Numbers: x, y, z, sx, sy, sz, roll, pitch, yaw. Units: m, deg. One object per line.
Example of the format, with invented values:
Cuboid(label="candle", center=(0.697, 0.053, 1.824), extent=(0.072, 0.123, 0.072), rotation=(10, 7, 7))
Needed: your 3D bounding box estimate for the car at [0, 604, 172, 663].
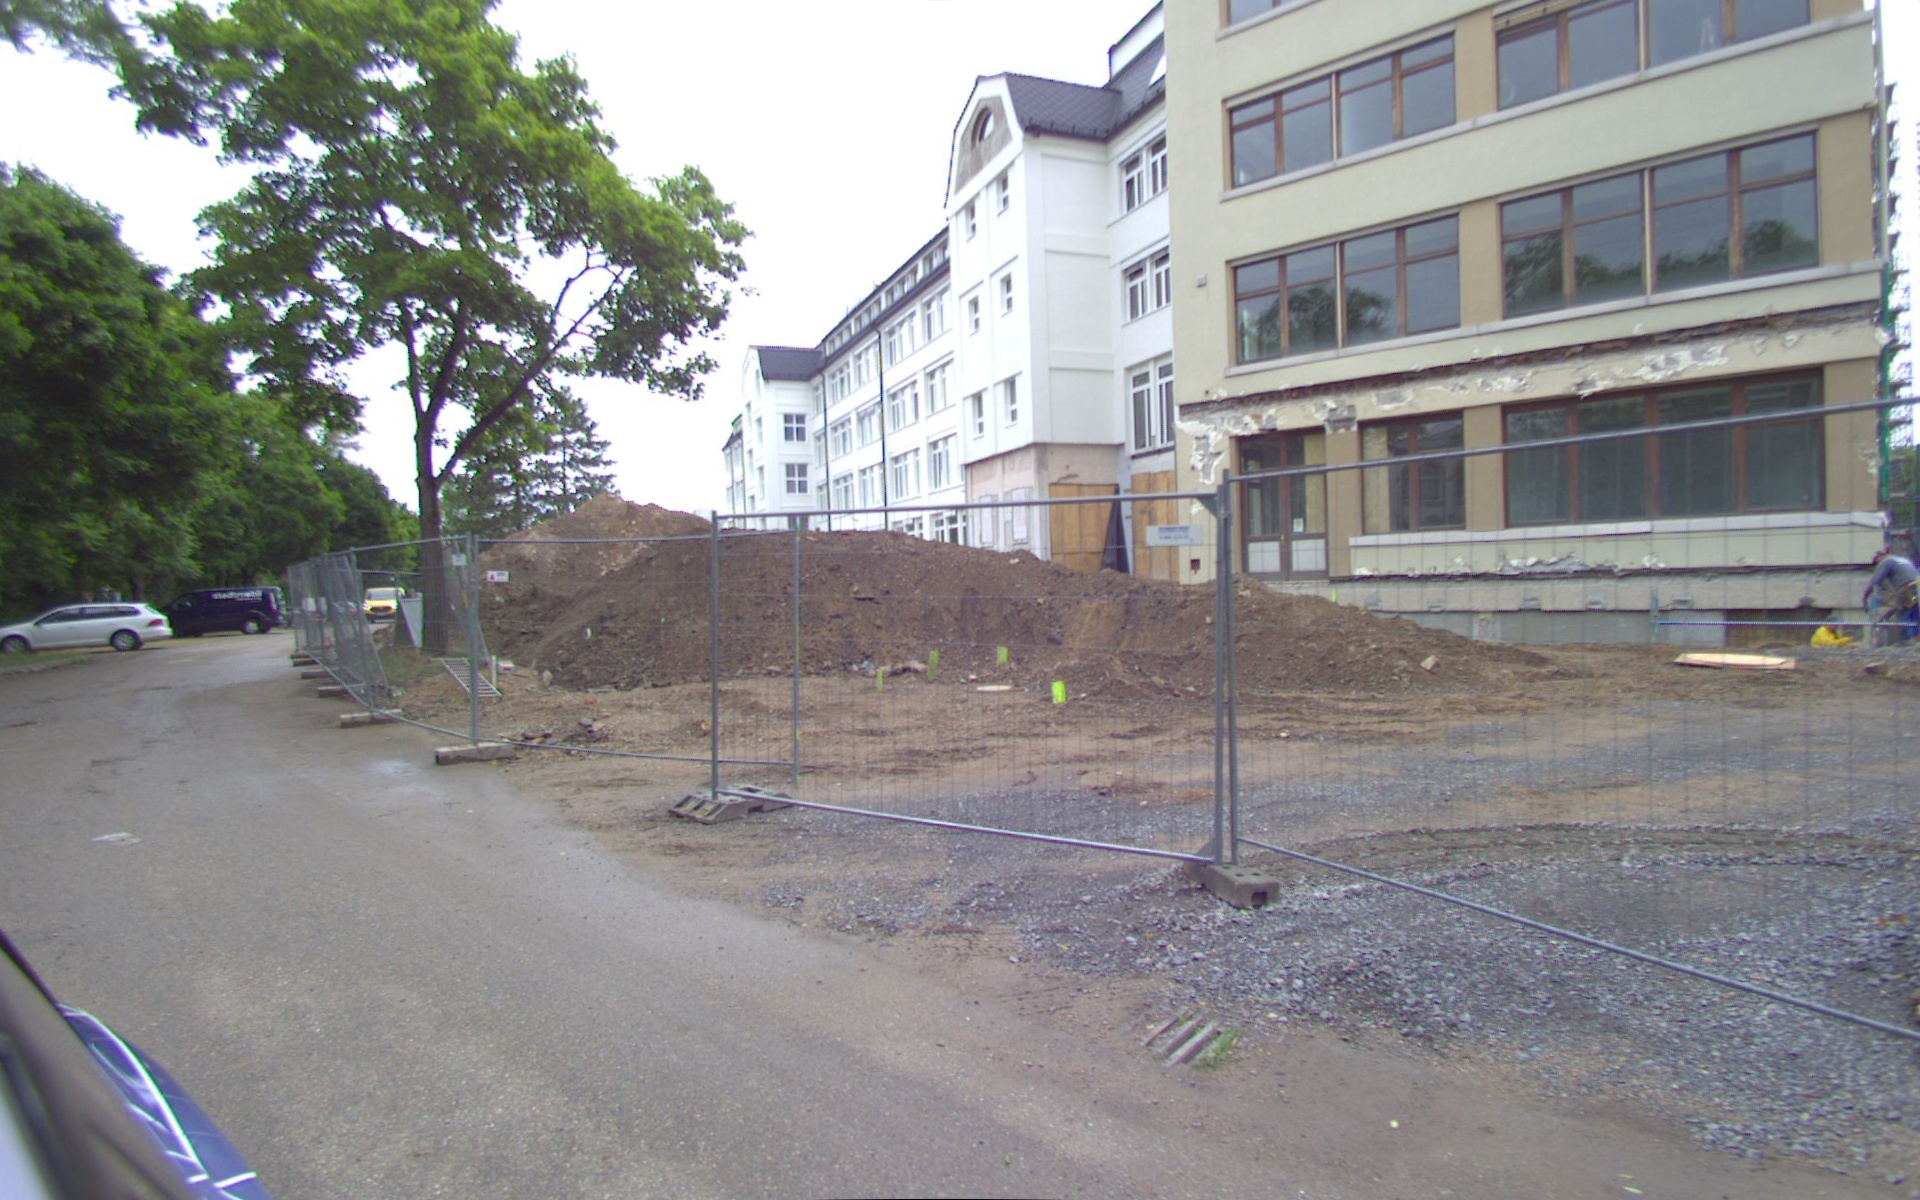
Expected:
Cuboid(label="car", center=(-26.664, 0.983, 31.013), extent=(3.822, 1.586, 1.756), rotation=(-2, 1, -35))

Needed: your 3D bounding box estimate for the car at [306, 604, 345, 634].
Cuboid(label="car", center=(-36.525, 1.061, 58.281), extent=(1.791, 1.608, 4.012), rotation=(-2, 1, -32))

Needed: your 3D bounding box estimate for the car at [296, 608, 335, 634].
Cuboid(label="car", center=(-42.864, 1.375, 67.394), extent=(1.966, 1.608, 4.012), rotation=(-2, 1, -30))

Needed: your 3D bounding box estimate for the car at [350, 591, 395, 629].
Cuboid(label="car", center=(-33.519, 0.549, 57.822), extent=(2.089, 2.029, 4.012), rotation=(-2, 1, -29))

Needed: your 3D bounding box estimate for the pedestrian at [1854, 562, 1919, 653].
Cuboid(label="pedestrian", center=(15.373, 0.117, 16.572), extent=(0.981, 1.448, 0.920), rotation=(-1, 1, 36))

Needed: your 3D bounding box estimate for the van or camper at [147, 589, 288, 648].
Cuboid(label="van or camper", center=(-31.326, 0.742, 42.868), extent=(4.423, 2.275, 2.007), rotation=(-2, 1, -22))
